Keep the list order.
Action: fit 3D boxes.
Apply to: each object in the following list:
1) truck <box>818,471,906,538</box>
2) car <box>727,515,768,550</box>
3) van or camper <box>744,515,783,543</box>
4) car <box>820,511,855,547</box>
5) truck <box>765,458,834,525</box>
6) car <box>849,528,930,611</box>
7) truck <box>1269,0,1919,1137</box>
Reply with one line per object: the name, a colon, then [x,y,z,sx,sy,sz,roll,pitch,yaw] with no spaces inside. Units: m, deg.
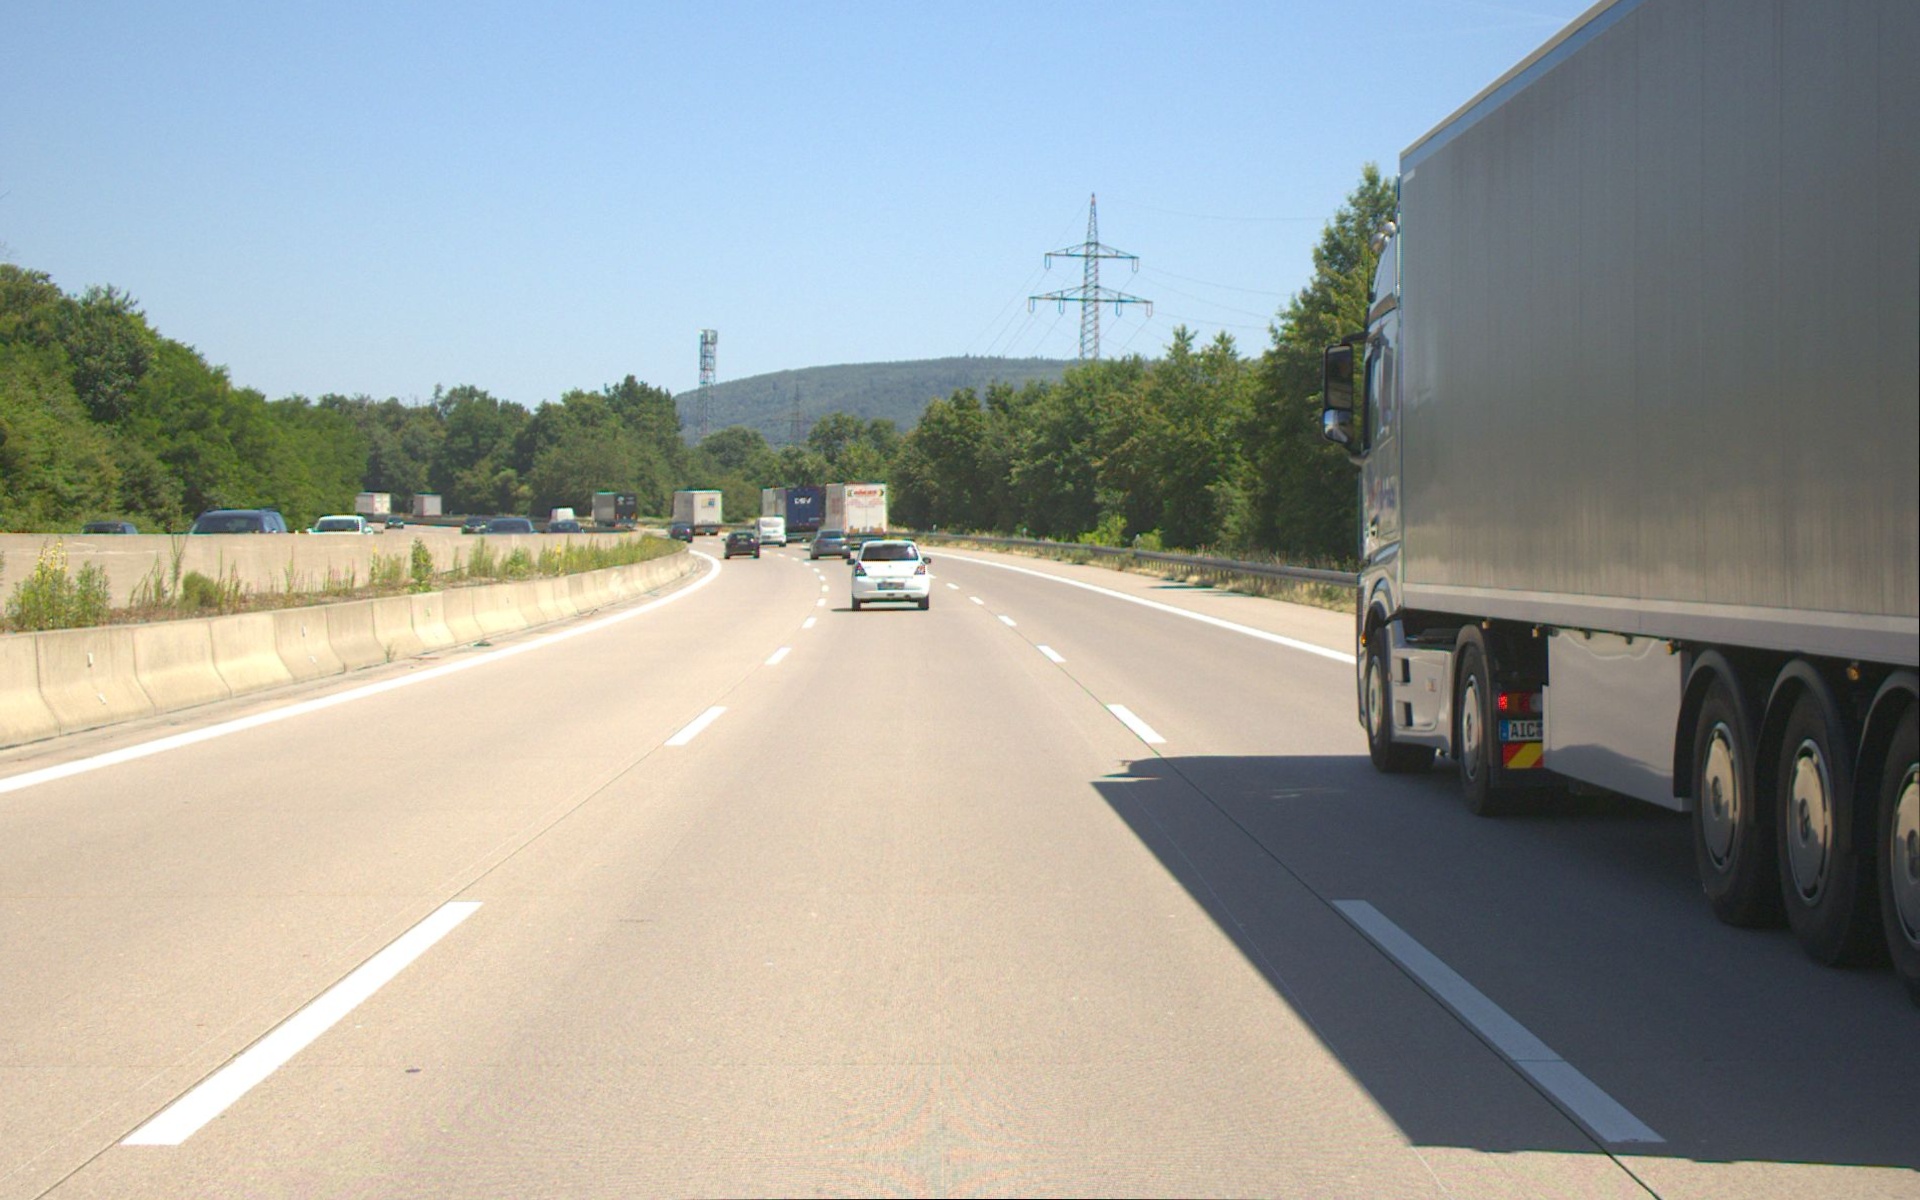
truck: [-6.055,-5.769,208.795,3.819,3.876,14.157,-1,2,-7]
car: [-11.134,-3.538,180.263,2.022,1.694,4.001,4,1,-3]
van or camper: [-13.072,-4.721,228.373,1.867,1.831,4.001,-2,2,-13]
car: [-5.997,-3.479,168.195,1.610,1.719,3.574,-1,1,-3]
truck: [-11.944,-7.965,254.400,3.906,4.725,14.054,-1,2,-7]
car: [-1.536,-0.689,75.064,1.641,1.656,3.360,3,2,-1]
truck: [4.381,-1.567,16.639,3.577,5.767,18.249,2,2,-1]
